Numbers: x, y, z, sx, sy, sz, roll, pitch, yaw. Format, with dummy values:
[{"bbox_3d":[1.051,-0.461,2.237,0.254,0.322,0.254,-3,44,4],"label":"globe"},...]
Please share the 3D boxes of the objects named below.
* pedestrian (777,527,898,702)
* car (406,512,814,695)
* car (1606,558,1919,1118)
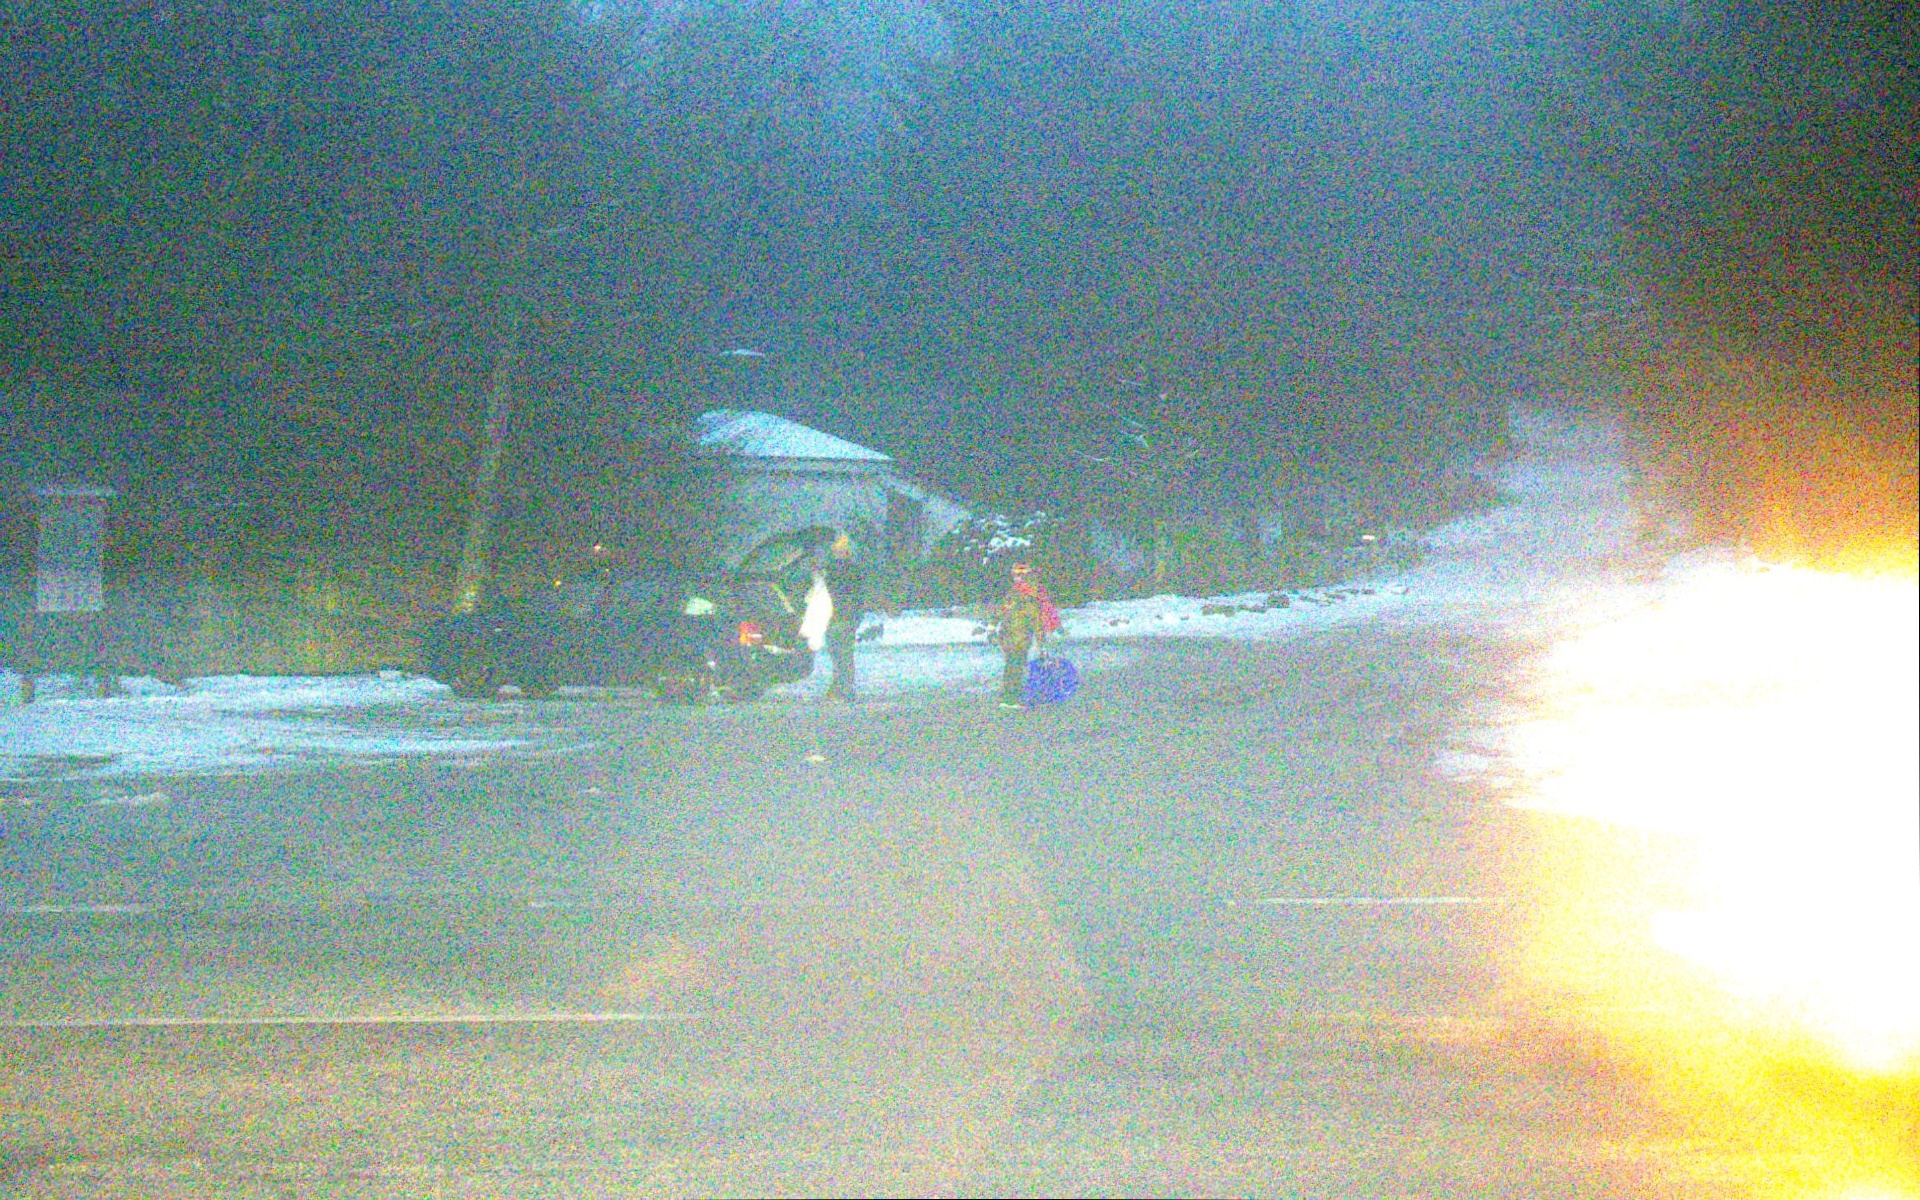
[{"bbox_3d":[-1.298,0.153,36.498,0.961,1.822,0.924,1,-1,21],"label":"pedestrian"},{"bbox_3d":[-3.808,0.033,37.662,3.950,1.875,1.998,1,0,16],"label":"car"},{"bbox_3d":[3.766,0.625,9.904,3.401,1.447,1.577,1,0,-8],"label":"car"}]
